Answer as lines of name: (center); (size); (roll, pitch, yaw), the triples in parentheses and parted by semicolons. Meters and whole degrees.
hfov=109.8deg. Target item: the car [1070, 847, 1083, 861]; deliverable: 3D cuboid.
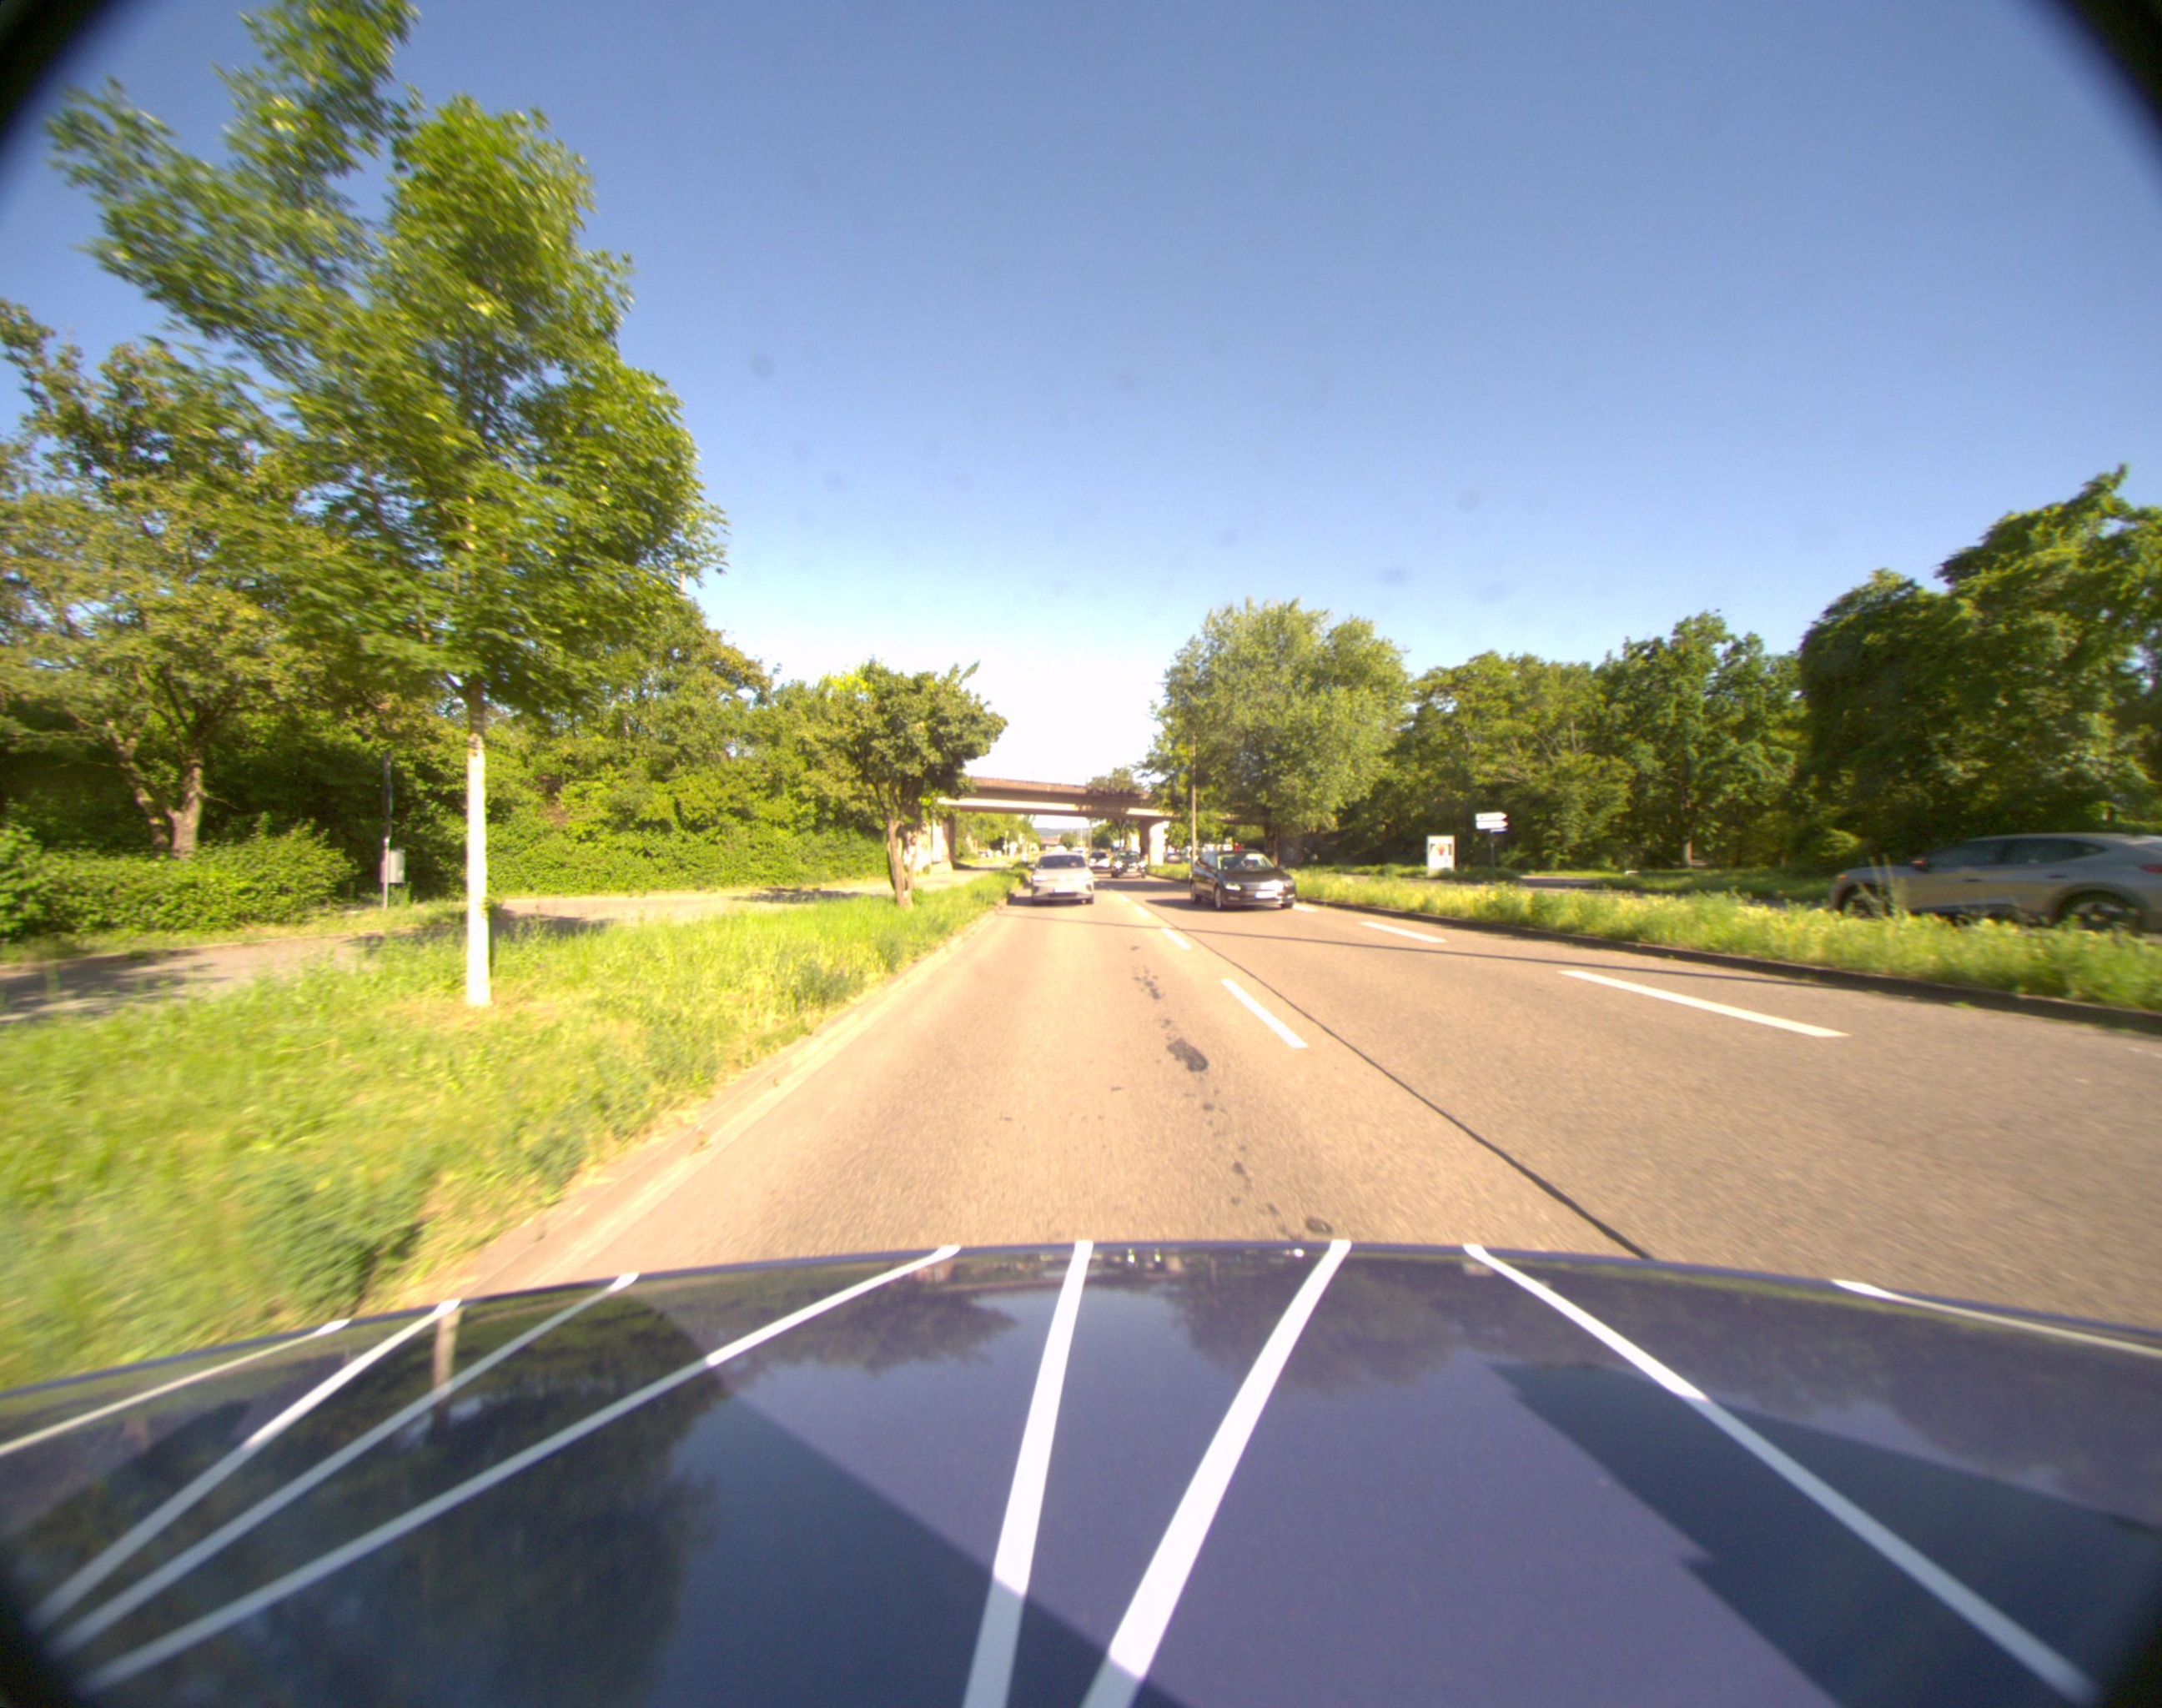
car: (-0.735, 0.040, 126.831); (2.089, 2.230, 3.998); (-1, 1, -2)

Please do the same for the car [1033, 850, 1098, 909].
car: (-0.489, 0.719, 23.799); (1.849, 1.615, 4.264); (-1, 1, -1)

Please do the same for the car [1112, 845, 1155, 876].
car: (3.028, 0.317, 44.507); (1.999, 1.674, 4.694); (-1, 1, -2)

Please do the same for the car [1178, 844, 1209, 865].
car: (10.562, -0.025, 71.829); (1.999, 1.918, 5.243); (0, 1, -2)

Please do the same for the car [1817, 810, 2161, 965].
car: (14.721, 0.386, 11.772); (1.999, 2.002, 4.579); (-1, 1, -5)

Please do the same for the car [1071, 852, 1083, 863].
car: (-0.782, 0.631, 137.980); (1.999, 2.002, 3.998); (-1, 1, -2)

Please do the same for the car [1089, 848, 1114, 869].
car: (1.827, 0.386, 68.257); (1.999, 1.779, 4.269); (-1, 1, -2)

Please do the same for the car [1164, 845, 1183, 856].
car: (13.195, -0.553, 108.380); (1.988, 1.543, 4.591); (-1, 1, -1)

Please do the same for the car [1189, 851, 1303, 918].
car: (4.028, 0.677, 19.237); (1.849, 1.445, 4.264); (-1, 1, -1)
